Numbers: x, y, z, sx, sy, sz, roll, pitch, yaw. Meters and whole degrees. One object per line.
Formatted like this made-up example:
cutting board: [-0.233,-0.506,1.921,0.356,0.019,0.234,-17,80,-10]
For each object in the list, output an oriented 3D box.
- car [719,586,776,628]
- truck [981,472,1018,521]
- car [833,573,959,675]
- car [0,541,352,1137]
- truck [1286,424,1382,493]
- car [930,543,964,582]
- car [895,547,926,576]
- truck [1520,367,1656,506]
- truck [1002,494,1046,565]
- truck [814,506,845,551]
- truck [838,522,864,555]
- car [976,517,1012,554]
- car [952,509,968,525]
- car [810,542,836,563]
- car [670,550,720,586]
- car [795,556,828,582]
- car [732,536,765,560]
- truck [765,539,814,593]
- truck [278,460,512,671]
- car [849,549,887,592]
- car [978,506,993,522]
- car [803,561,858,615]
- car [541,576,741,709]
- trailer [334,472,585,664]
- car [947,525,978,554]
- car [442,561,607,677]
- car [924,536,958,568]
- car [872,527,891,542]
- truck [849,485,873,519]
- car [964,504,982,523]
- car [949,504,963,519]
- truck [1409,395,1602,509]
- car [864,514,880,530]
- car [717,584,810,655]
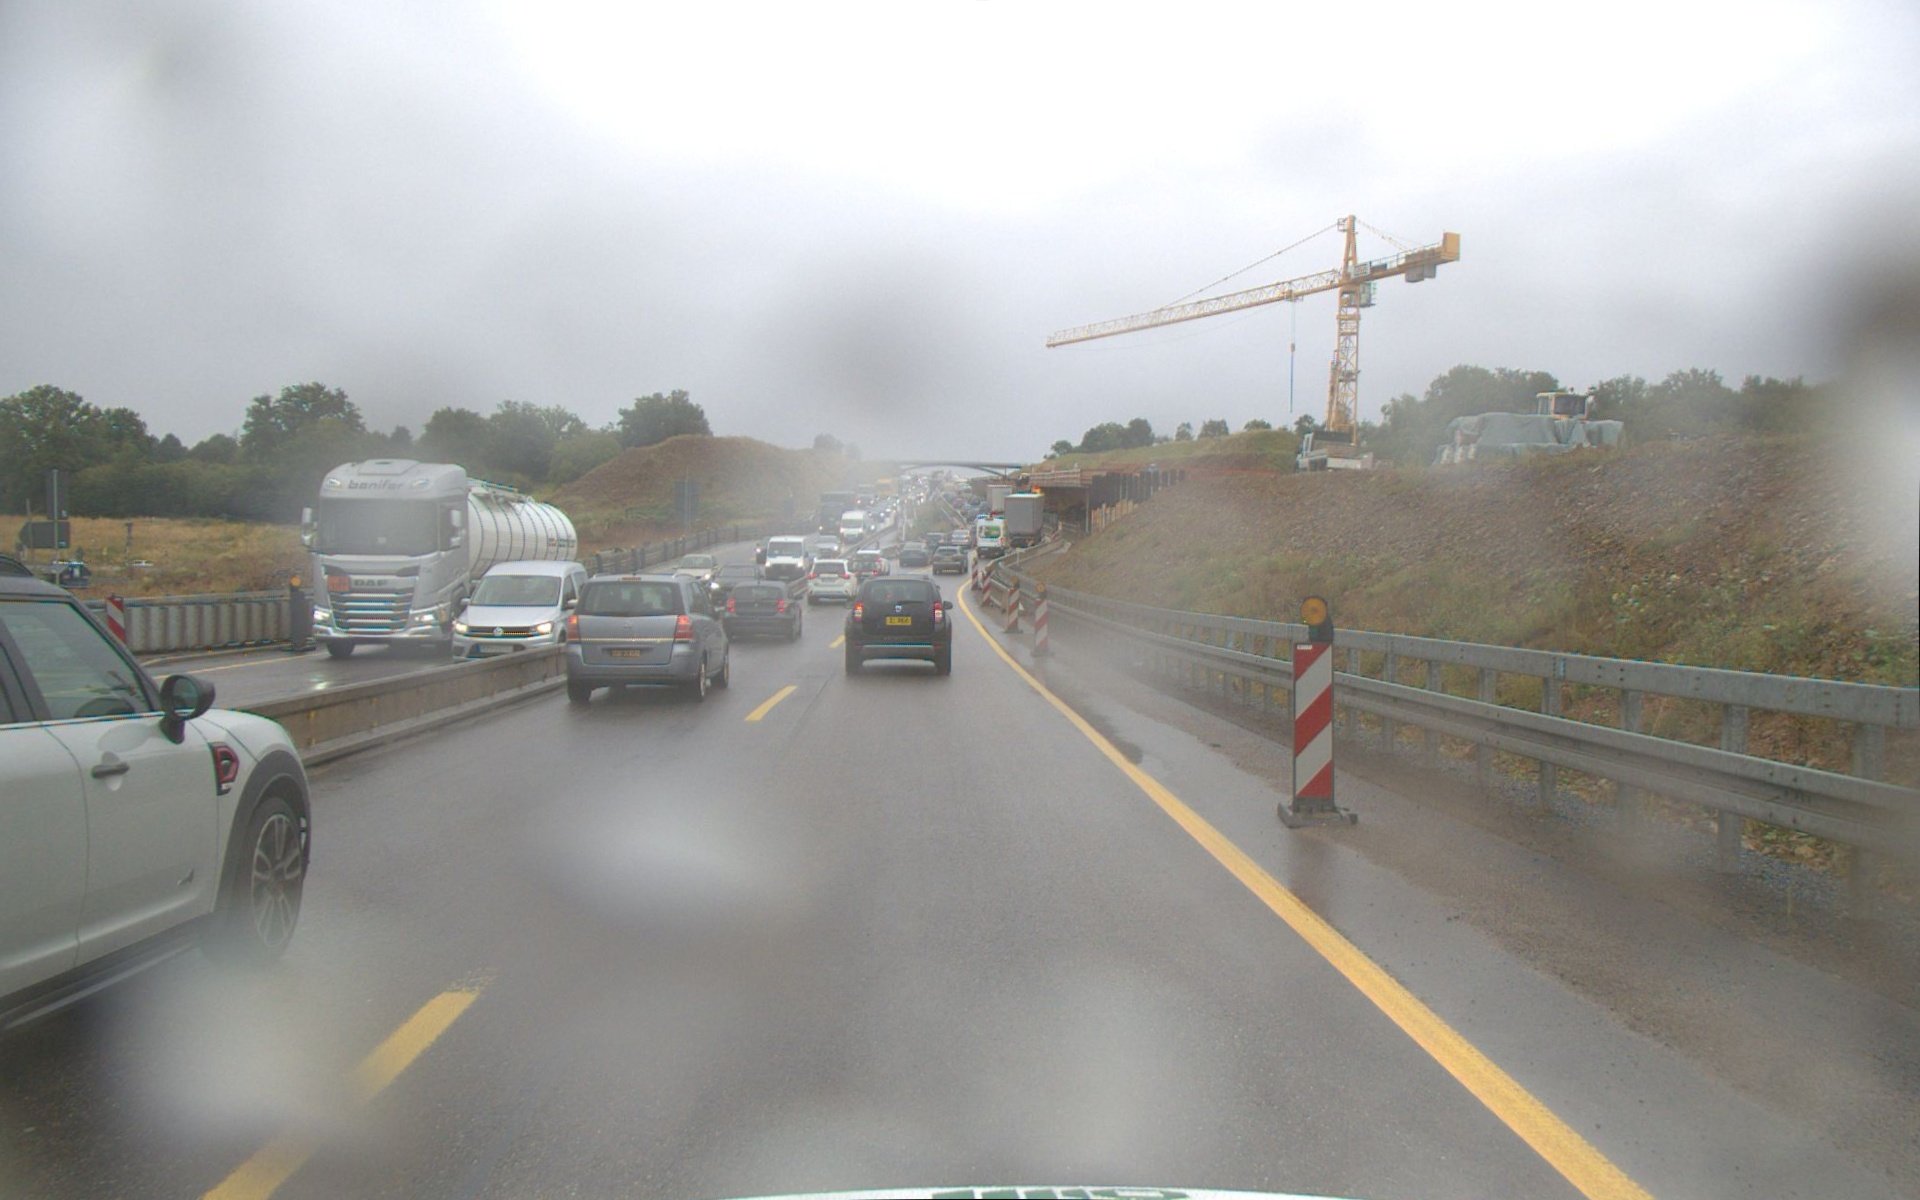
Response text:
car: [-8.165,0.241,63.929,1.737,1.530,4.677,0,1,-2]
truck: [4.696,-12.341,198.801,3.727,5.130,12.916,0,0,-2]
car: [-1.061,0.375,28.805,2.039,1.628,4.140,0,0,-1]
car: [-3.531,0.638,5.173,1.779,1.628,4.307,0,1,-2]
truck: [17.043,-6.418,75.856,2.592,2.599,6.982,0,0,-2]
car: [-0.757,-2.194,97.154,1.953,2.200,4.140,0,0,-1]
car: [-3.201,-2.503,107.339,1.953,1.792,3.814,0,0,-1]
truck: [21.848,-5.605,57.877,2.325,4.292,5.977,0,0,-2]
truck: [5.392,-5.789,137.529,3.036,5.521,9.450,0,0,6]
truck: [-12.250,-6.779,156.055,2.588,4.038,9.211,0,3,-3]
truck: [-9.363,-5.319,142.480,2.104,2.760,6.015,0,2,-2]
car: [2.491,-4.638,119.124,1.951,2.527,4.986,0,0,8]
car: [0.037,-10.572,211.228,1.953,2.048,4.000,0,2,-2]
car: [-9.868,-3.446,119.610,1.643,1.550,4.344,0,2,-2]
car: [-11.998,-1.461,75.027,1.752,1.573,3.999,0,1,-2]
car: [-9.163,-1.931,102.390,1.751,1.565,4.311,0,1,-2]
car: [-14.209,-3.509,111.266,1.751,1.565,4.311,0,1,-2]
truck: [-8.641,-1.701,84.191,2.037,2.621,5.960,0,0,-2]
truck: [-10.929,-0.639,32.691,2.568,3.742,6.592,0,0,-2]
car: [-4.928,-1.558,88.272,1.954,2.200,4.137,0,0,-5]
car: [3.562,-12.126,233.121,1.953,2.049,3.998,0,0,-2]
car: [-5.013,-0.472,64.556,1.953,2.049,3.892,0,0,-2]
car: [-4.214,0.511,22.489,1.953,1.628,4.140,0,0,-1]
trailer: [-11.143,-0.675,38.350,2.567,3.742,11.999,0,1,-2]
car: [0.193,-4.841,132.493,1.951,2.200,4.144,0,0,7]
car: [-7.344,0.285,28.295,1.828,1.831,4.161,0,0,-2]
car: [-1.346,-3.479,119.850,1.951,2.200,4.143,0,0,6]
car: [-7.683,-6.414,162.221,1.831,1.496,4.669,0,2,-3]
truck: [-14.934,-14.770,250.031,3.020,5.004,8.565,1,2,-1]
car: [1.484,-9.832,188.172,1.953,2.048,4.000,0,2,-2]
car: [-0.664,-13.291,248.760,1.953,2.049,3.998,0,0,-2]
truck: [17.339,-4.620,53.380,3.326,2.925,8.960,0,0,0]
car: [-10.156,-9.036,191.685,1.702,1.713,5.552,1,3,-1]
car: [-4.693,0.436,40.063,1.954,1.628,4.138,0,0,-3]
